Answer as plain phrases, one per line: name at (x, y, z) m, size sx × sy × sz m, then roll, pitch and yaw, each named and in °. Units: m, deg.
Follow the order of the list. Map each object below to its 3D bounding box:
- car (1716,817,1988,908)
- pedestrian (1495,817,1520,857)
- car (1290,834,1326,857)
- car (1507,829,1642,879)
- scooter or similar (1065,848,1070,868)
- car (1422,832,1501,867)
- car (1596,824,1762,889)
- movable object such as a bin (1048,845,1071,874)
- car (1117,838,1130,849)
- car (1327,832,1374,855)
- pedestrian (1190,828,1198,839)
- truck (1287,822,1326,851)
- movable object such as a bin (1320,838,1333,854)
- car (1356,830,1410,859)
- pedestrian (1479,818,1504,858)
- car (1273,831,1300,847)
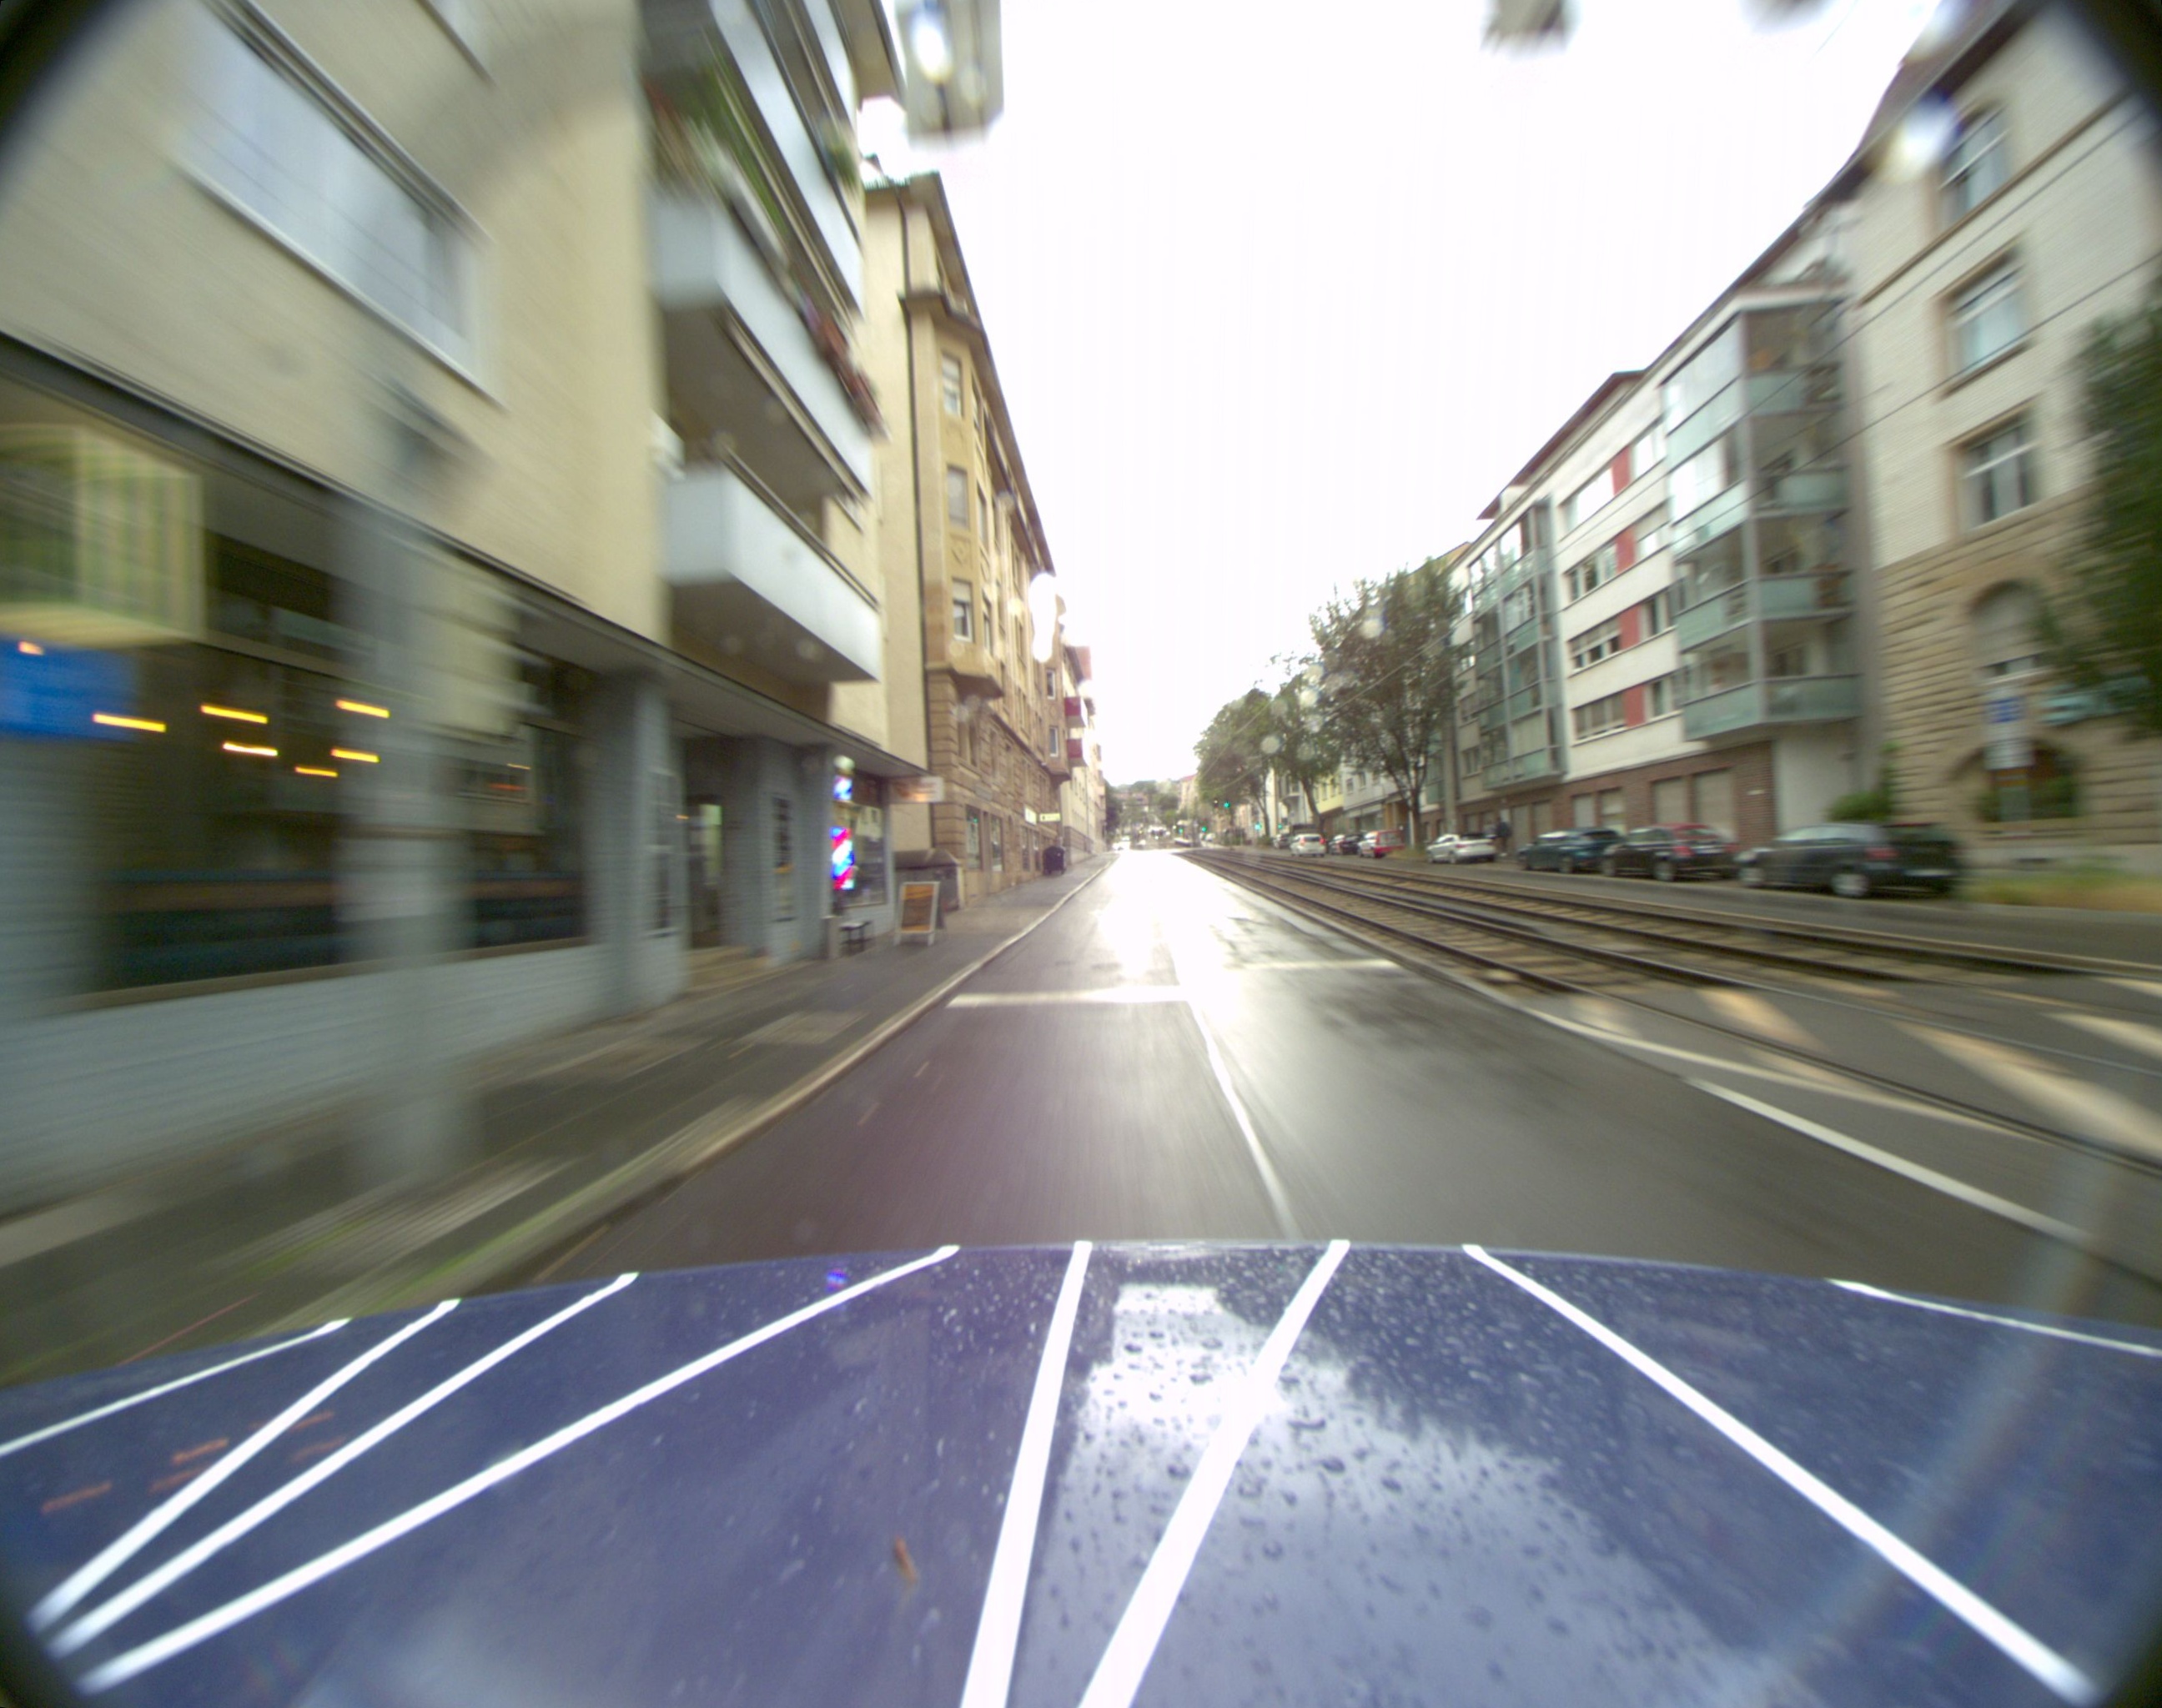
car at (15.475, 0.121, 15.596) m, size 1.768 × 1.544 × 3.895 m, roll -3°, pitch 1°, yaw 4°
pedestrian at (19.419, -0.764, 34.626) m, size 0.675 × 1.762 × 0.782 m, roll -3°, pitch 2°, yaw 5°
car at (15.186, -0.599, 50.913) m, size 1.630 × 1.473 × 3.581 m, roll -2°, pitch 1°, yaw 6°
car at (16.154, -0.028, 25.160) m, size 1.805 × 1.446 × 4.431 m, roll -2°, pitch 1°, yaw 4°
scooter or similar at (-0.771, 0.203, 43.135) m, size 0.209 × 1.106 × 0.890 m, roll -1°, pitch 3°, yaw -5°
car at (16.950, -0.229, 34.058) m, size 1.706 × 1.328 × 4.130 m, roll -5°, pitch 1°, yaw 5°
car at (15.893, 0.012, 20.443) m, size 1.811 × 1.490 × 3.526 m, roll -3°, pitch 2°, yaw 4°
movable object such as a bin at (-1.099, 0.270, 38.554) m, size 1.011 × 1.443 × 1.393 m, roll 0°, pitch 2°, yaw 5°
car at (6.961, -1.730, 123.901) m, size 1.998 × 1.652 × 4.000 m, roll -2°, pitch 1°, yaw 4°
car at (18.545, -0.776, 52.542) m, size 1.910 × 1.432 × 4.469 m, roll -2°, pitch 1°, yaw 4°
pedestrian at (19.316, -3.494, 129.991) m, size 1.119 × 1.773 × 0.965 m, roll -2°, pitch 2°, yaw 5°
truck at (19.696, -1.579, 66.656) m, size 2.196 × 2.333 × 6.352 m, roll -2°, pitch 3°, yaw 7°
movable object such as a bin at (18.147, -0.609, 56.082) m, size 0.726 × 1.115 × 0.671 m, roll -2°, pitch 2°, yaw -1°
car at (17.953, -0.610, 45.403) m, size 1.780 × 1.560 × 4.159 m, roll -2°, pitch 1°, yaw 4°
pedestrian at (18.720, -0.740, 34.666) m, size 0.675 × 1.762 × 0.782 m, roll -3°, pitch 2°, yaw 5°
car at (20.686, -1.497, 76.626) m, size 1.708 × 1.452 × 4.361 m, roll -4°, pitch 1°, yaw 5°
